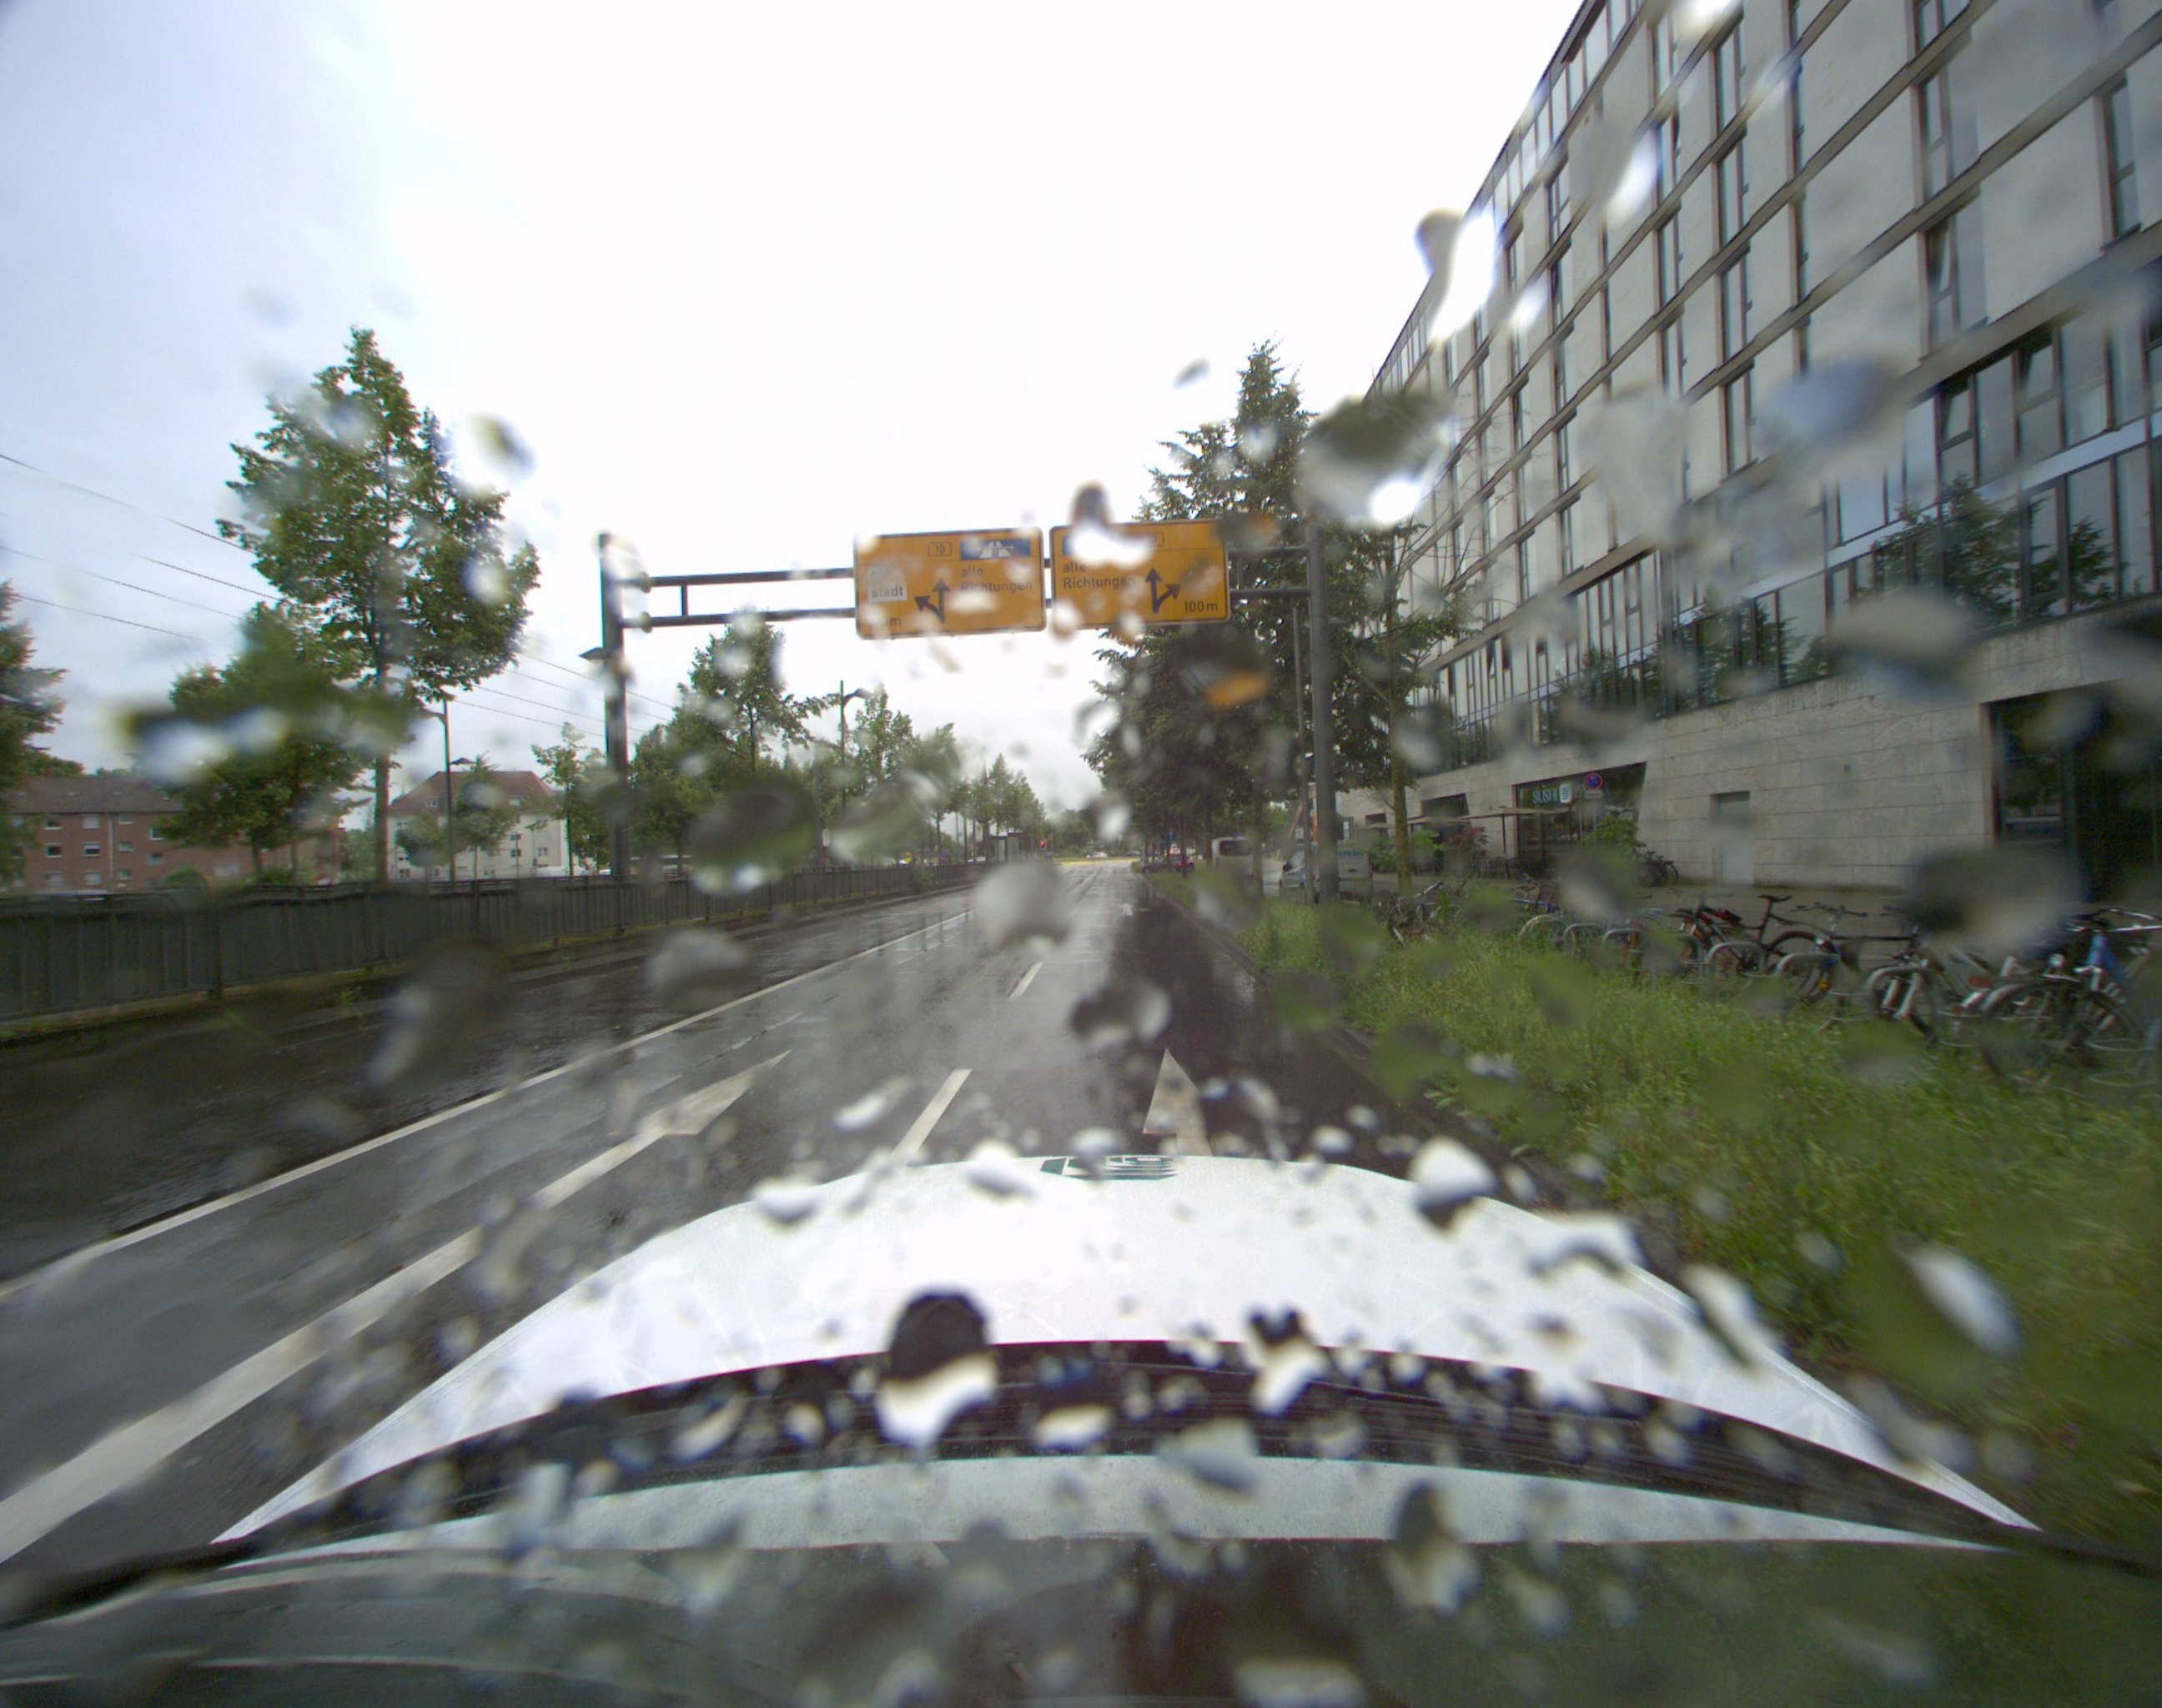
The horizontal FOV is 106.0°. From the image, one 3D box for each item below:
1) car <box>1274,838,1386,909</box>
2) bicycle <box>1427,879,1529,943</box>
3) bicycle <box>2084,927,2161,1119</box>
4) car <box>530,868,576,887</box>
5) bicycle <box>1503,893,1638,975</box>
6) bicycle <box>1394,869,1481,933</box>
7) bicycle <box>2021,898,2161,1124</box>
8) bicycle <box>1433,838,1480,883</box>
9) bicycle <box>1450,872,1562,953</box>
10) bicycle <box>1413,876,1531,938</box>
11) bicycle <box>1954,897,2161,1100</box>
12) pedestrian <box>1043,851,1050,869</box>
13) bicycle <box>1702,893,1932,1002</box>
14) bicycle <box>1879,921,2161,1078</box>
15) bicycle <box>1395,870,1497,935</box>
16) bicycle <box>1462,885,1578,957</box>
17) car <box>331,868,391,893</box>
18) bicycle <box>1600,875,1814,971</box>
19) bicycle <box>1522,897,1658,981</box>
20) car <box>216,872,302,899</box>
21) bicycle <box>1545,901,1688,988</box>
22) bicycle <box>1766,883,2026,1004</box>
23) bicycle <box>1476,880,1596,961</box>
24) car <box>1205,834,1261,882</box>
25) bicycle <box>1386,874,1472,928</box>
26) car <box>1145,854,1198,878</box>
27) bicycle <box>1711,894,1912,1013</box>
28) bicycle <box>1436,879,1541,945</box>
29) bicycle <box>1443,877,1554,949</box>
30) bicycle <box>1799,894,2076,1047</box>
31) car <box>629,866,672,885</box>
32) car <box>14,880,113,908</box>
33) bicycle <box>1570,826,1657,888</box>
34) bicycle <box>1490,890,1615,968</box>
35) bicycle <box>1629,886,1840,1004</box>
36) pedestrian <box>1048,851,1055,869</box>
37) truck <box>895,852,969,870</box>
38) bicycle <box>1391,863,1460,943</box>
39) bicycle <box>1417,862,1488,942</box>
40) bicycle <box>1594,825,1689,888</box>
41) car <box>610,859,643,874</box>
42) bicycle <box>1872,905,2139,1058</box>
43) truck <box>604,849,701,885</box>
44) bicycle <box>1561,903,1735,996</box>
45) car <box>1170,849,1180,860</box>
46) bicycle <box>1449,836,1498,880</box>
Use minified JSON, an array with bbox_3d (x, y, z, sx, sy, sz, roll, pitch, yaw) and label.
[{"bbox_3d":[6.971,0.512,23.378,1.899,1.791,4.690,-2,0,2],"label":"car"},{"bbox_3d":[5.668,0.808,11.649,1.284,0.849,0.275,-2,-1,1],"label":"bicycle"},{"bbox_3d":[5.827,0.776,3.903,1.701,0.849,0.313,-2,0,-2],"label":"bicycle"},{"bbox_3d":[-61.552,2.735,95.015,1.978,2.014,4.234,-1,-1,17],"label":"car"},{"bbox_3d":[5.553,0.902,9.269,1.284,0.849,0.355,-2,-1,1],"label":"bicycle"},{"bbox_3d":[5.841,0.771,13.365,1.284,0.995,0.275,-2,-1,1],"label":"bicycle"},{"bbox_3d":[5.915,0.786,4.271,1.608,1.096,0.296,-2,-1,-1],"label":"bicycle"},{"bbox_3d":[15.837,0.237,34.441,0.642,1.722,3.122,-2,2,2],"label":"bicycle"},{"bbox_3d":[5.525,0.757,10.607,1.284,0.989,0.275,-2,-1,1],"label":"bicycle"},{"bbox_3d":[5.886,0.793,12.288,1.589,0.849,0.311,-2,-1,1],"label":"bicycle"},{"bbox_3d":[5.928,0.791,4.625,1.608,1.053,0.296,-2,-1,-1],"label":"bicycle"},{"bbox_3d":[-3.969,0.681,93.347,0.694,2.013,0.657,-2,2,6],"label":"pedestrian"},{"bbox_3d":[6.019,0.757,6.684,1.609,0.849,0.275,-1,-1,1],"label":"bicycle"},{"bbox_3d":[5.676,0.866,4.932,1.400,0.849,0.275,-2,-1,-1],"label":"bicycle"},{"bbox_3d":[5.835,0.769,13.045,1.455,0.980,0.311,-2,-1,1],"label":"bicycle"},{"bbox_3d":[5.542,0.838,10.301,1.284,0.849,0.275,-2,-1,1],"label":"bicycle"},{"bbox_3d":[-68.967,2.511,78.096,1.986,2.013,4.003,-2,2,2],"label":"car"},{"bbox_3d":[6.032,0.660,7.870,1.810,0.849,0.275,-2,-1,1],"label":"bicycle"},{"bbox_3d":[5.554,0.925,8.906,1.284,0.849,0.275,-2,-1,1],"label":"bicycle"},{"bbox_3d":[-77.361,2.930,76.782,2.073,2.013,5.387,-2,2,9],"label":"car"},{"bbox_3d":[5.617,0.945,8.564,1.284,0.849,0.275,-2,-1,1],"label":"bicycle"},{"bbox_3d":[5.987,0.650,6.008,1.609,0.849,0.275,-1,-1,1],"label":"bicycle"},{"bbox_3d":[5.546,0.809,9.951,1.284,0.918,0.275,-2,-1,1],"label":"bicycle"},{"bbox_3d":[7.746,0.203,41.998,2.113,2.274,4.567,-2,0,2],"label":"car"},{"bbox_3d":[5.851,0.786,13.707,1.284,0.849,0.311,-2,-1,1],"label":"bicycle"},{"bbox_3d":[6.533,0.855,59.012,1.827,1.545,3.962,-3,2,-30],"label":"car"},{"bbox_3d":[5.701,0.769,6.377,1.284,0.849,0.275,-2,-1,1],"label":"bicycle"},{"bbox_3d":[5.646,0.803,11.297,1.284,0.849,0.275,-2,-1,1],"label":"bicycle"},{"bbox_3d":[5.589,0.785,10.926,1.320,0.910,0.275,-2,-1,1],"label":"bicycle"},{"bbox_3d":[5.969,0.802,5.699,1.609,1.022,0.275,-1,-1,1],"label":"bicycle"},{"bbox_3d":[-48.183,2.392,91.288,1.978,2.014,4.018,-1,-1,17],"label":"car"},{"bbox_3d":[-73.392,2.860,58.855,1.986,1.617,4.003,-2,2,2],"label":"car"},{"bbox_3d":[15.880,0.034,24.429,0.642,1.722,3.122,-2,2,2],"label":"bicycle"},{"bbox_3d":[5.557,0.881,9.618,1.284,0.849,0.275,-2,-1,1],"label":"bicycle"},{"bbox_3d":[5.982,0.827,7.486,1.637,0.988,0.321,-2,-1,1],"label":"bicycle"},{"bbox_3d":[-3.421,0.712,94.647,0.695,2.013,0.656,-2,2,2],"label":"pedestrian"},{"bbox_3d":[-28.836,1.356,158.450,3.478,3.147,14.998,-2,-1,43],"label":"truck"},{"bbox_3d":[3.989,0.536,9.493,0.273,0.849,1.293,-2,0,3],"label":"bicycle"},{"bbox_3d":[4.316,0.527,9.524,0.273,0.849,1.293,-2,0,3],"label":"bicycle"},{"bbox_3d":[16.657,0.012,24.323,0.769,1.722,3.122,-2,2,2],"label":"bicycle"},{"bbox_3d":[-60.898,1.622,109.197,3.545,1.738,1.694,-3,2,-22],"label":"car"},{"bbox_3d":[5.998,0.815,5.303,1.405,0.897,0.275,-2,-1,-1],"label":"bicycle"},{"bbox_3d":[-64.178,1.842,122.427,12.513,4.592,3.375,-3,2,-25],"label":"truck"},{"bbox_3d":[5.706,0.954,8.219,1.517,0.849,0.277,-2,-1,1],"label":"bicycle"},{"bbox_3d":[16.163,0.137,140.024,1.615,1.699,3.462,-2,2,6],"label":"car"},{"bbox_3d":[16.583,0.120,34.482,0.642,1.722,3.122,-2,2,2],"label":"bicycle"}]
